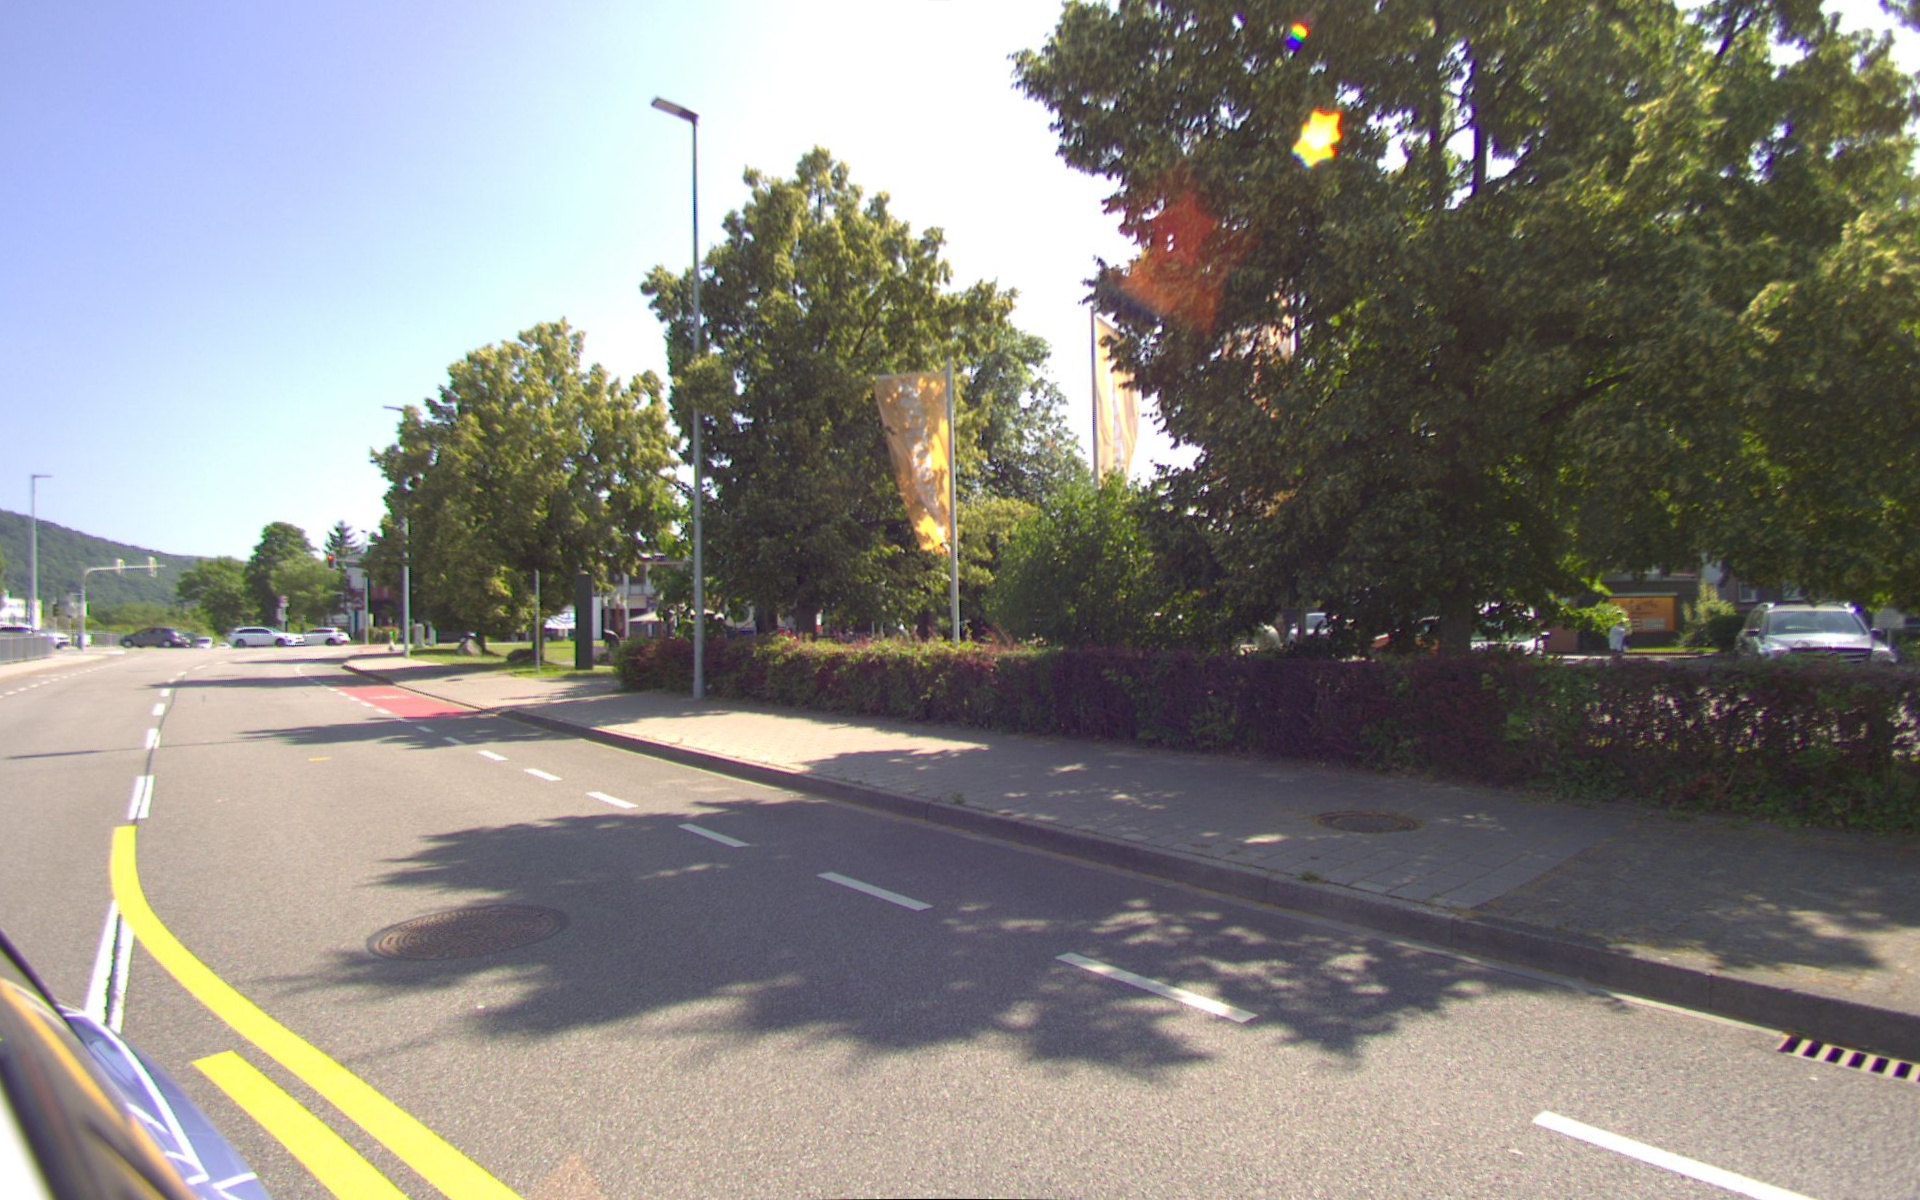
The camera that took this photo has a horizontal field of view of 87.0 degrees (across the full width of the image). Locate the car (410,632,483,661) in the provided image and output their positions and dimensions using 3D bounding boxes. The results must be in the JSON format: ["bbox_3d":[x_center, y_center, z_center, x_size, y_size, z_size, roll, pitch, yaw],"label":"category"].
[{"bbox_3d":[-37.030,3.353,73.031,4.301,1.863,1.835,0,1,-8],"label":"car"}]

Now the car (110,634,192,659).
[{"bbox_3d":[-59.490,3.381,74.480,4.299,1.638,1.836,-1,2,-11],"label":"car"}]

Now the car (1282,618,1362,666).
[{"bbox_3d":[12.780,1.444,35.628,1.618,1.543,3.567,-2,-1,37],"label":"car"}]

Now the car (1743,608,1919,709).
[{"bbox_3d":[15.506,0.969,18.203,1.900,1.595,3.767,-2,-1,33],"label":"car"}]

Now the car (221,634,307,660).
[{"bbox_3d":[-49.044,3.291,71.391,4.693,1.664,1.835,0,1,-7],"label":"car"}]

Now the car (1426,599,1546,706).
[{"bbox_3d":[10.398,0.973,19.843,1.743,1.841,4.307,-3,-2,31],"label":"car"}]

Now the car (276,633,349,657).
[{"bbox_3d":[-48.905,3.398,76.503,4.299,1.638,1.836,-1,2,-11],"label":"car"}]

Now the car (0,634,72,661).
[{"bbox_3d":[-64.176,3.252,69.534,4.509,1.664,1.835,0,1,-7],"label":"car"}]

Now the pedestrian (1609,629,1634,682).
[{"bbox_3d":[18.955,1.588,28.990,0.495,1.471,0.544,-3,0,40],"label":"pedestrian"}]

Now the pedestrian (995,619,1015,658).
[{"bbox_3d":[1.901,1.613,42.364,0.596,1.579,0.564,-2,-1,38],"label":"pedestrian"}]

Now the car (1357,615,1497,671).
[{"bbox_3d":[14.707,1.346,31.965,3.718,1.644,1.648,-2,-1,38],"label":"car"}]

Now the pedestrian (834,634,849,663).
[{"bbox_3d":[-5.213,2.131,44.694,0.544,1.219,0.593,-5,2,-5],"label":"pedestrian"}]

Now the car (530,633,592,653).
[{"bbox_3d":[-31.492,3.384,79.947,4.299,1.356,1.836,-1,2,-11],"label":"car"}]
